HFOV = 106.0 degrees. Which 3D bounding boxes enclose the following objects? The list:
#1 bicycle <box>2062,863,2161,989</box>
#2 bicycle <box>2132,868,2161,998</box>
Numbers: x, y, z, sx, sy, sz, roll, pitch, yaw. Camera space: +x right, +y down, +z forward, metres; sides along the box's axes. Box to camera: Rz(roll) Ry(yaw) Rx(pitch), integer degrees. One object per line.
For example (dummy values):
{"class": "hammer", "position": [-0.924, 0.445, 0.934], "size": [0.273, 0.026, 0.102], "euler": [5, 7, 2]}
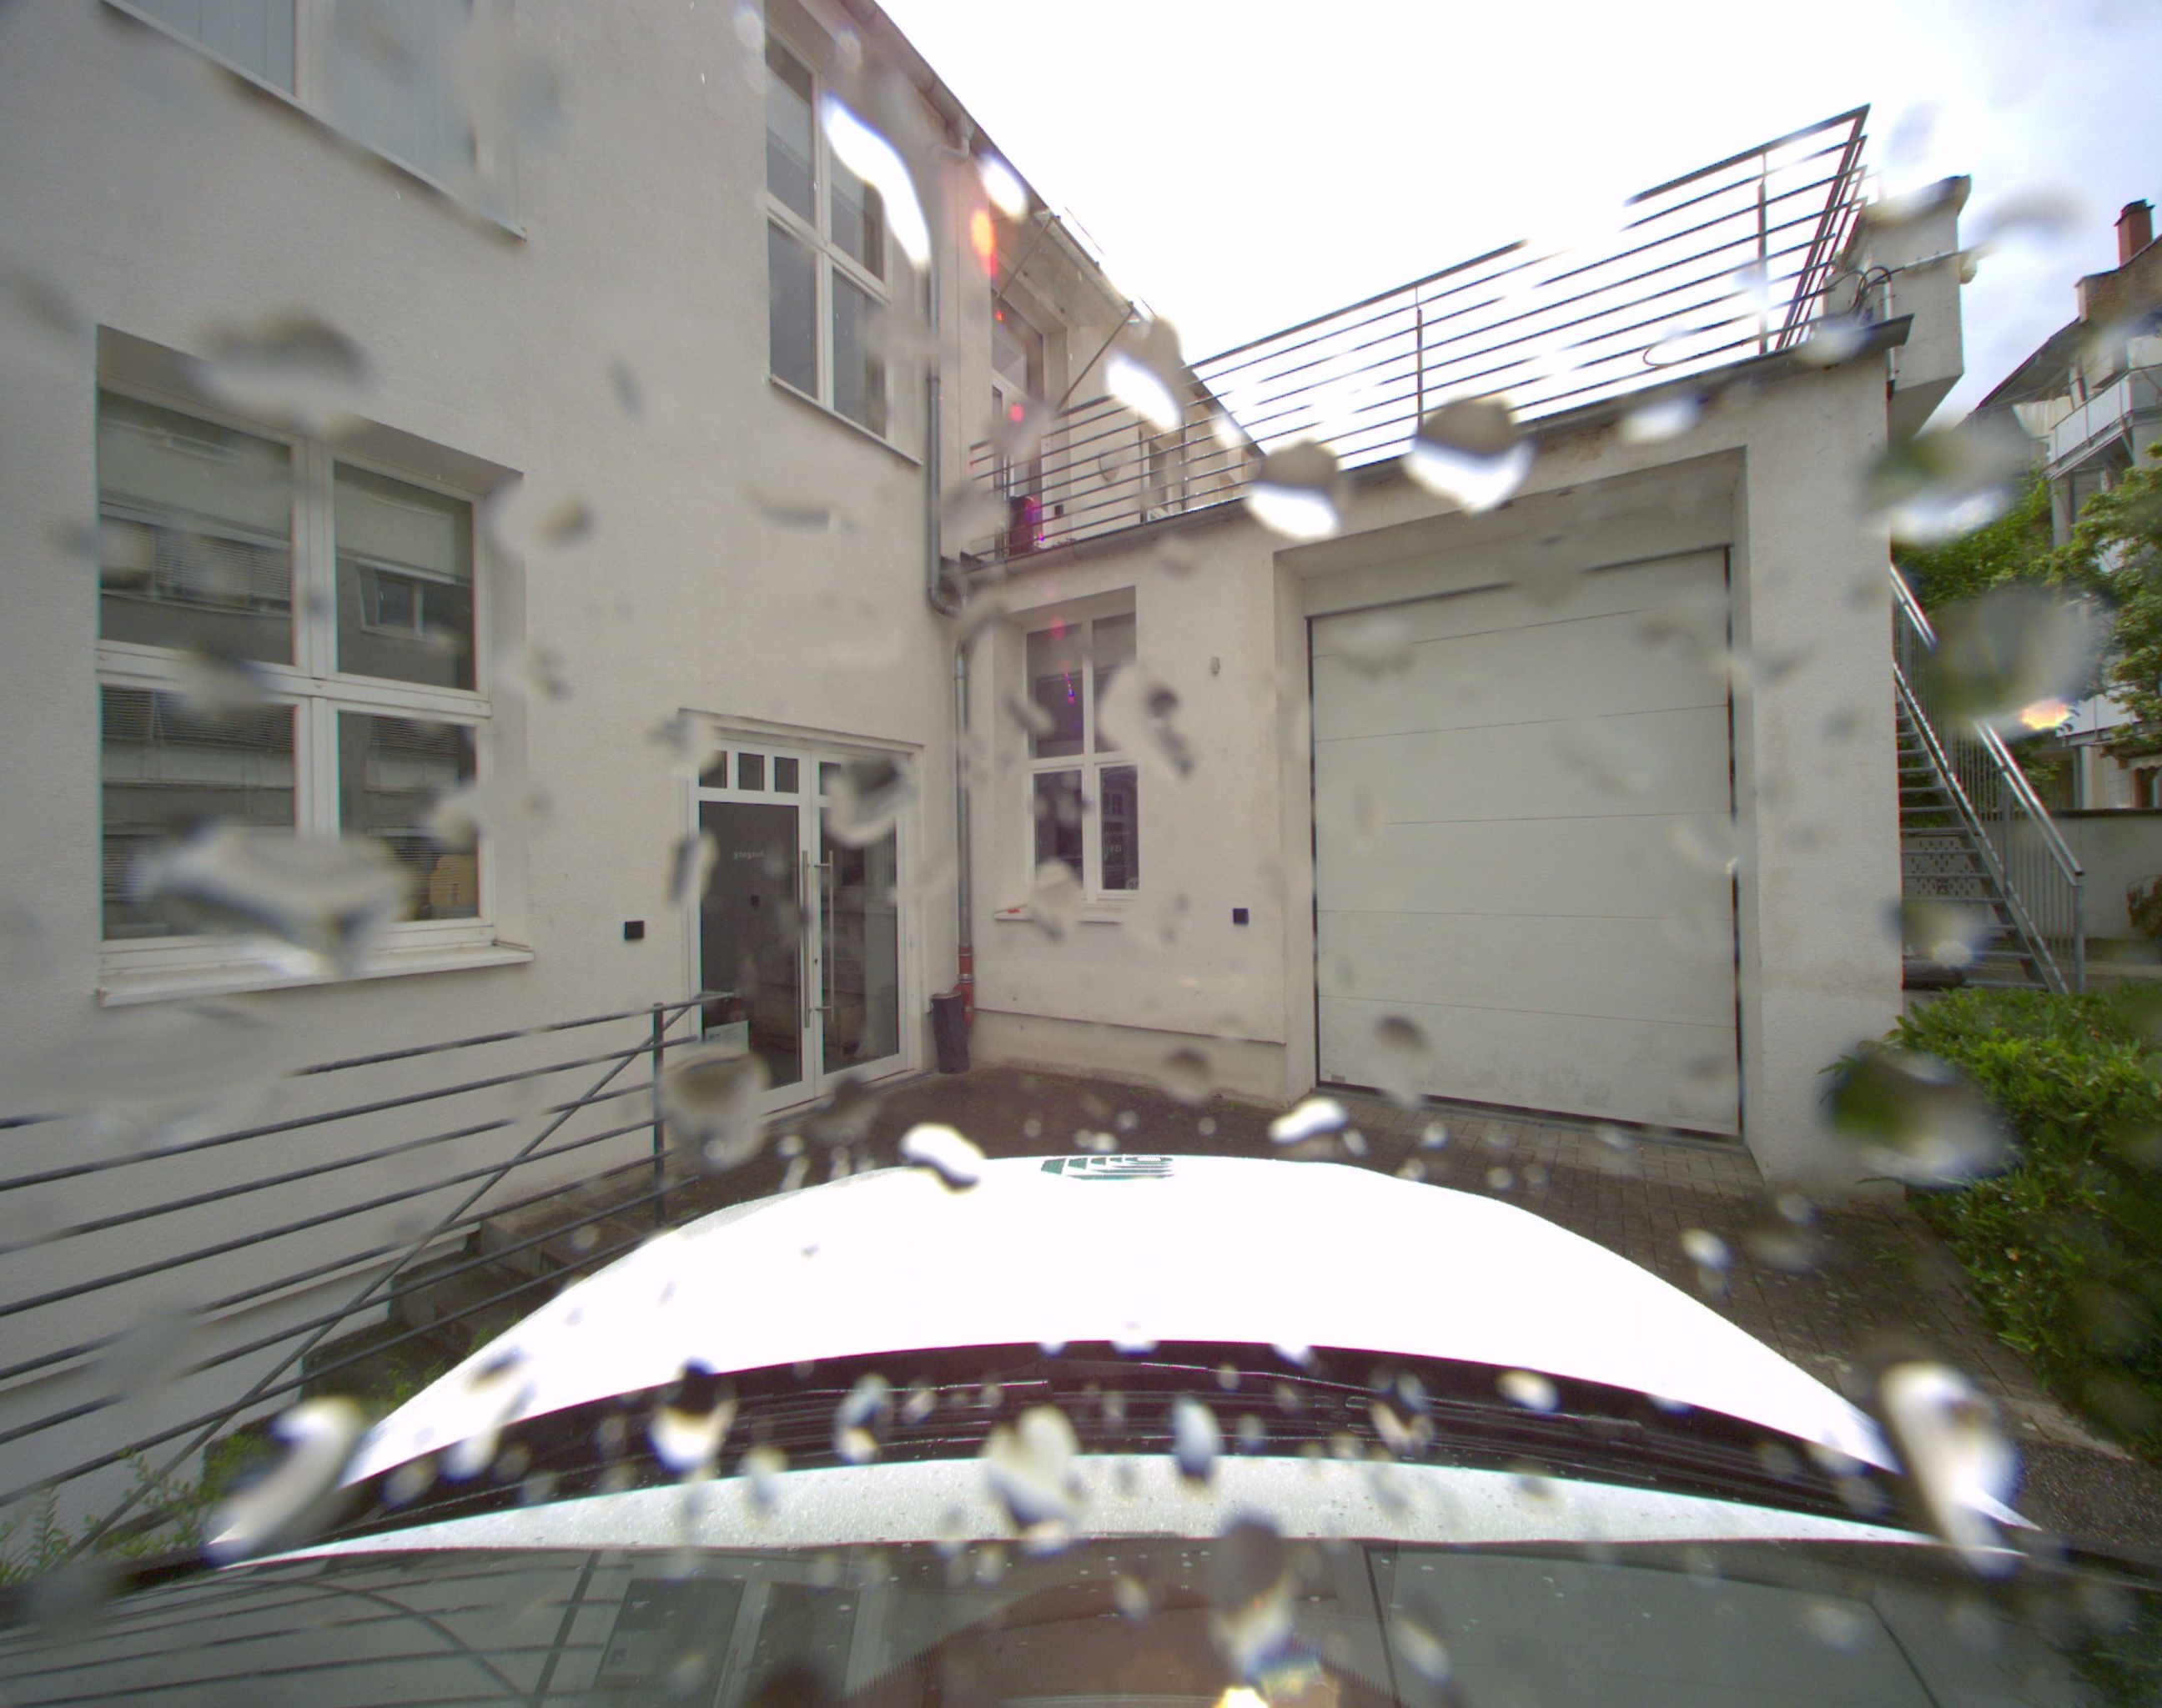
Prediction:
{"class": "bicycle", "position": [10.570, 0.644, 6.902], "size": [2.816, 1.078, 0.694], "euler": [0, 1, 30]}
{"class": "bicycle", "position": [10.354, 0.684, 6.206], "size": [2.816, 1.078, 0.694], "euler": [0, 1, 30]}
